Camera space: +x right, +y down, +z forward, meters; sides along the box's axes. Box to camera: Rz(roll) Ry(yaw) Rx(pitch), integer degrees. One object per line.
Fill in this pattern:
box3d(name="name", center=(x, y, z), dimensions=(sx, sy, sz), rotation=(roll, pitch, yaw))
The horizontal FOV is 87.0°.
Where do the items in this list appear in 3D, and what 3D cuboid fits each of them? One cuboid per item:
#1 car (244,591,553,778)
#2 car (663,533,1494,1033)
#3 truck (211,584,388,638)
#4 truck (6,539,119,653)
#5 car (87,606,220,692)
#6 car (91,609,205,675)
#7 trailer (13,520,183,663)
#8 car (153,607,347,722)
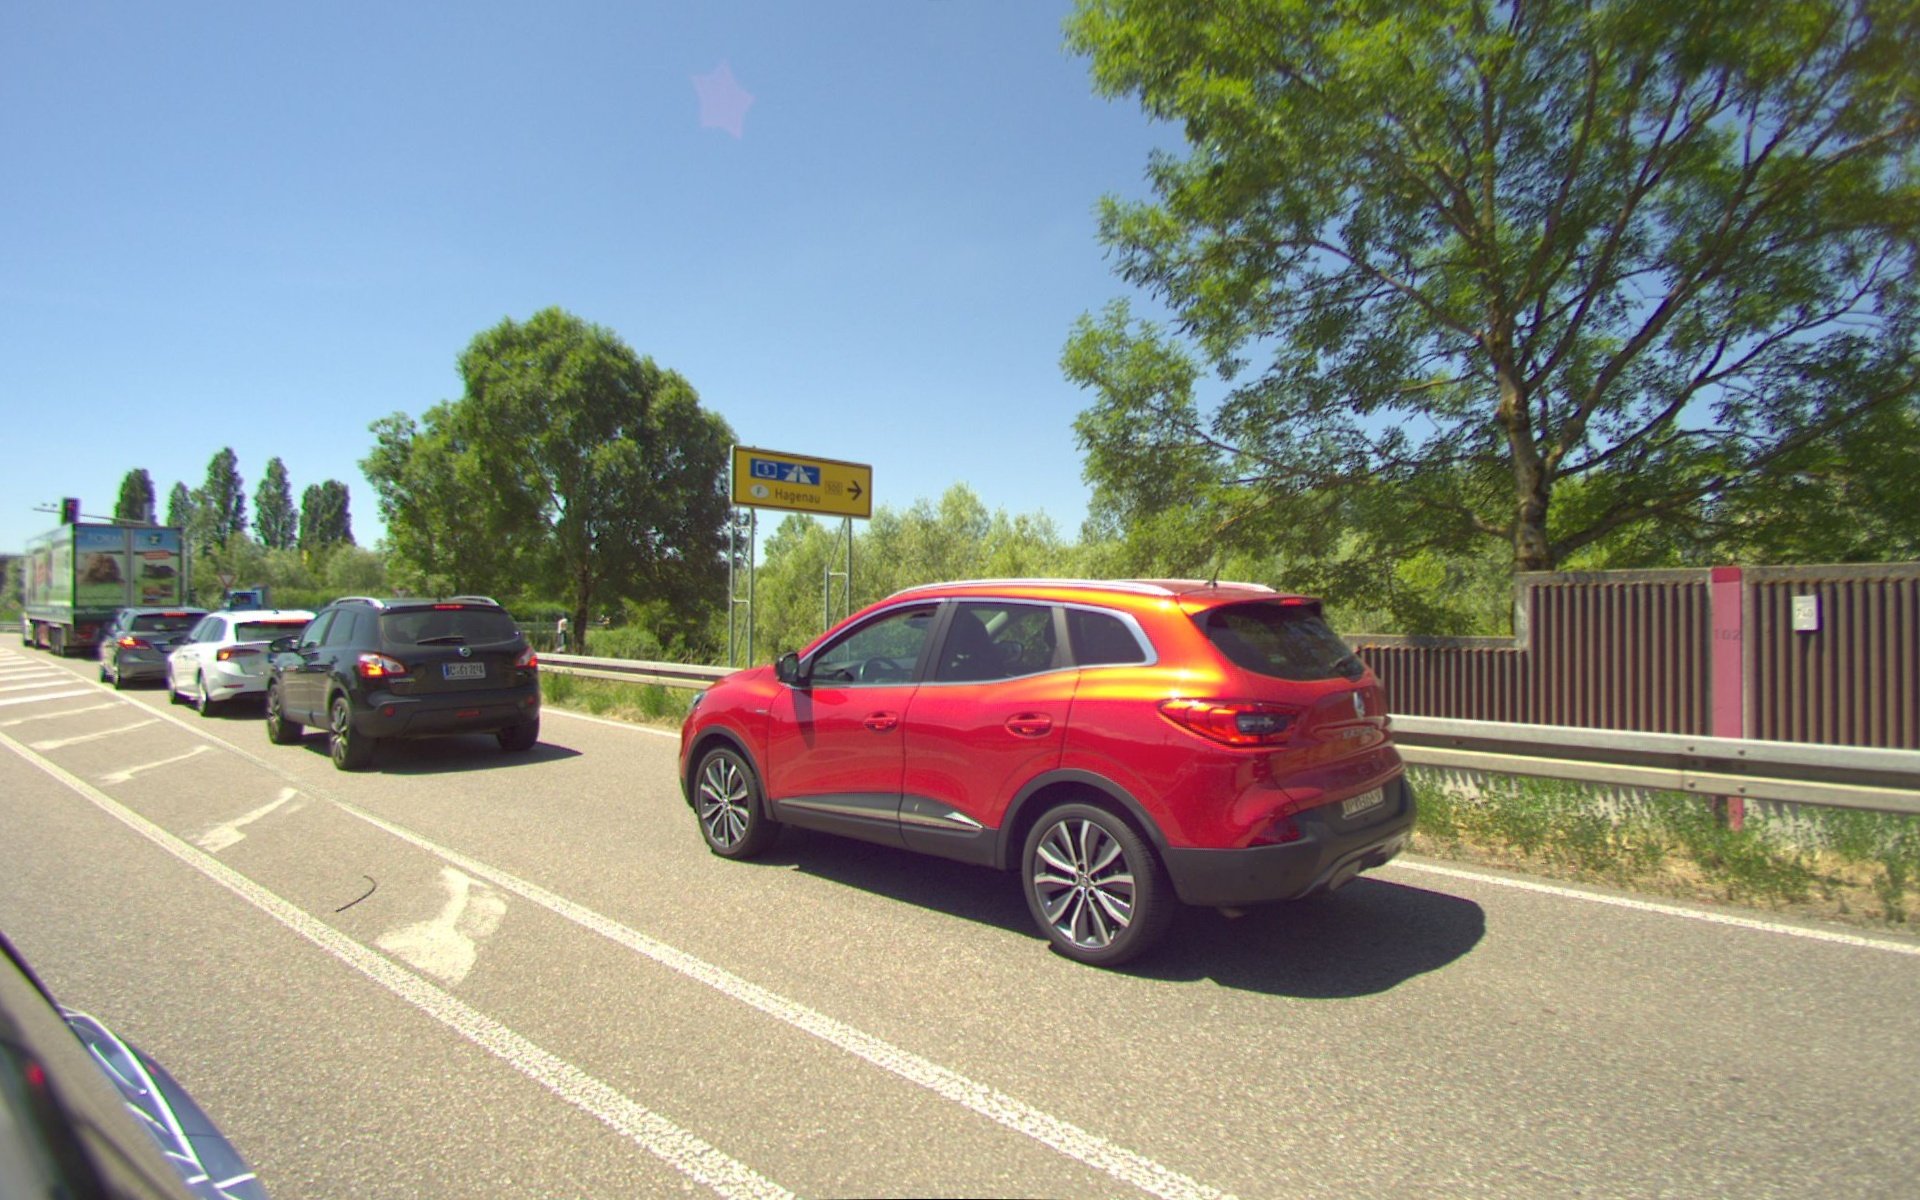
box3d(name="car", center=(-6.195, 0.760, 10.894), dimensions=(4.536, 1.601, 1.697), rotation=(-1, -1, 44))
box3d(name="car", center=(0.280, 0.637, 5.457), dimensions=(4.280, 1.644, 1.736), rotation=(-1, -1, 44))
box3d(name="truck", center=(-41.862, 0.778, 64.505), dimensions=(2.696, 3.220, 9.046), rotation=(-1, -2, 43))
box3d(name="truck", center=(-34.772, -0.147, 39.138), dimensions=(5.824, 4.075, 2.661), rotation=(-1, 0, 42))
box3d(name="car", center=(-16.347, 0.945, 20.439), dimensions=(1.605, 1.549, 4.387), rotation=(2, -2, -45))
box3d(name="car", center=(-20.863, 1.019, 25.947), dimensions=(4.154, 1.573, 1.693), rotation=(-1, -1, 43))
box3d(name="trailer", center=(-29.762, -0.195, 34.552), dimensions=(14.122, 4.075, 2.660), rotation=(-1, 0, 42))
box3d(name="car", center=(-10.956, 0.882, 15.475), dimensions=(4.632, 1.490, 1.634), rotation=(-1, -1, 45))
